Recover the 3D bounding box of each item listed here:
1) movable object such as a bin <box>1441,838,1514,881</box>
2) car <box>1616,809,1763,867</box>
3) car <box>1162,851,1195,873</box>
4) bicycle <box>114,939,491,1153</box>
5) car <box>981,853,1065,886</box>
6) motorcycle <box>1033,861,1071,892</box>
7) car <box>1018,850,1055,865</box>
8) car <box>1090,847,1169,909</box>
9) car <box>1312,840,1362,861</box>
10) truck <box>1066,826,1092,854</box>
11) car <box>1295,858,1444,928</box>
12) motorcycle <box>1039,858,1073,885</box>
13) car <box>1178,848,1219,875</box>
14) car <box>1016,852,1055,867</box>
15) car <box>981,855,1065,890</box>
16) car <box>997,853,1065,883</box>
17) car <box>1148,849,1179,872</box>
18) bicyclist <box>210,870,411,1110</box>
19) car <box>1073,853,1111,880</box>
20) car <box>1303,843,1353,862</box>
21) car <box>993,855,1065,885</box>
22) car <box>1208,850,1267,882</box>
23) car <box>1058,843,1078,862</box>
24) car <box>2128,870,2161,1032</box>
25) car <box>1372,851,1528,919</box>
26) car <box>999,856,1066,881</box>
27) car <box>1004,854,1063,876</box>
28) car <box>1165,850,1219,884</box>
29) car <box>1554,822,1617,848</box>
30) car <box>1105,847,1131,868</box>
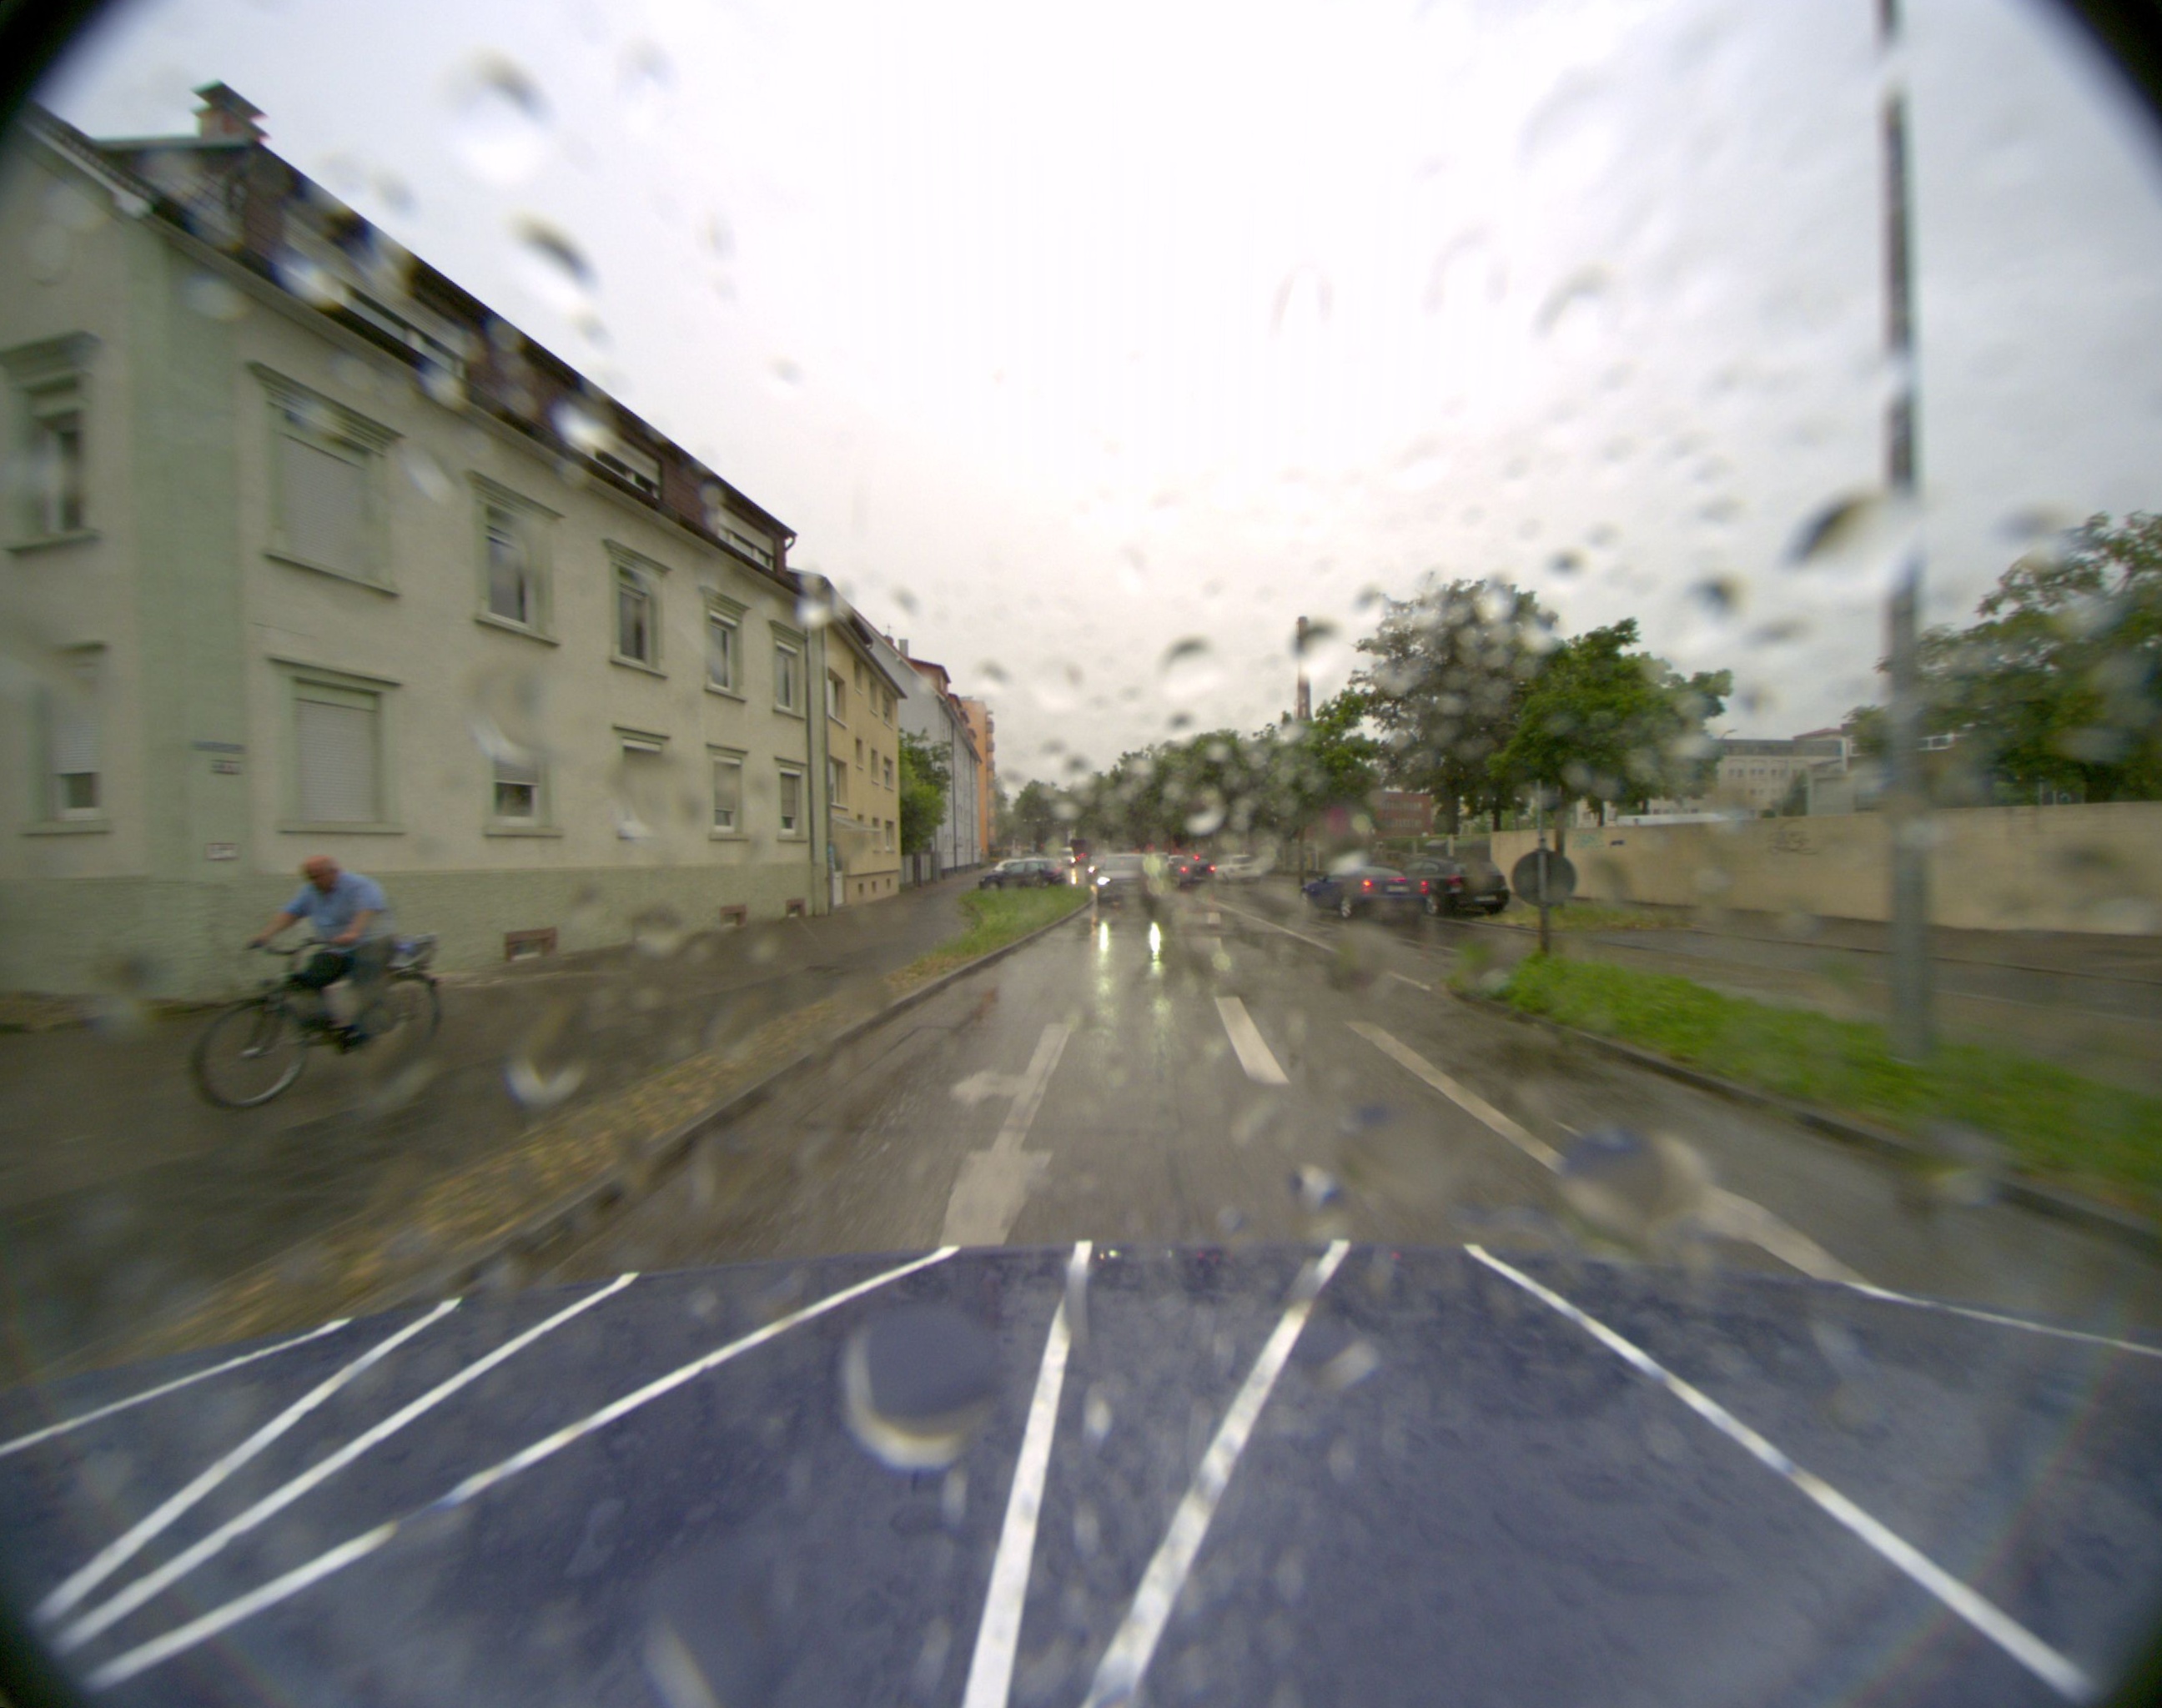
[{"bbox_3d":[14.000,0.178,26.888,1.563,1.433,1.830,-2,1,-3],"label":"movable object such as a bin"},{"bbox_3d":[27.168,-0.683,34.084,2.153,2.383,4.708,-3,1,-33],"label":"car"},{"bbox_3d":[6.819,0.538,53.382,1.695,1.445,3.717,-2,1,-2],"label":"car"},{"bbox_3d":[-5.468,1.274,5.575,0.674,1.054,1.972,-2,0,1],"label":"bicycle"},{"bbox_3d":[-2.873,0.770,38.216,4.064,1.446,1.934,-2,-1,-3],"label":"car"},{"bbox_3d":[-1.298,0.984,33.431,1.594,1.317,0.695,-2,0,-4],"label":"motorcycle"},{"bbox_3d":[-5.030,0.404,86.584,4.172,1.596,1.649,-2,1,-2],"label":"car"},{"bbox_3d":[1.438,0.686,24.142,1.961,1.702,4.172,-2,1,-3],"label":"car"},{"bbox_3d":[23.606,-0.292,70.174,2.003,1.871,3.989,-3,1,-35],"label":"car"},{"bbox_3d":[-0.415,-2.343,127.786,3.834,4.360,10.780,-2,1,-3],"label":"truck"},{"bbox_3d":[6.648,0.830,17.999,1.732,1.385,3.948,1,1,-5],"label":"car"},{"bbox_3d":[-1.352,0.926,41.070,1.767,1.365,0.734,-2,1,-2],"label":"motorcycle"},{"bbox_3d":[7.379,0.453,48.061,1.629,1.589,3.795,-2,1,-6],"label":"car"},{"bbox_3d":[-4.862,0.553,81.729,4.172,1.445,1.650,-2,1,-2],"label":"car"},{"bbox_3d":[-2.686,0.853,35.607,3.762,1.446,1.800,-2,-1,-3],"label":"car"},{"bbox_3d":[-2.976,0.796,45.440,3.924,1.605,1.691,-2,1,-2],"label":"car"},{"bbox_3d":[6.742,0.503,62.210,1.882,1.672,4.035,-2,1,-3],"label":"car"},{"bbox_3d":[-5.475,0.922,5.447,0.640,1.573,0.715,-2,1,1],"label":"bicyclist"},{"bbox_3d":[0.602,0.687,44.960,1.961,1.382,4.172,-2,1,-3],"label":"car"},{"bbox_3d":[22.170,-0.128,68.367,1.774,1.660,3.989,-3,1,-35],"label":"car"},{"bbox_3d":[-2.931,0.906,42.990,3.924,1.472,1.856,-2,1,-2],"label":"car"},{"bbox_3d":[8.081,0.584,39.668,1.779,1.452,4.677,-2,1,-4],"label":"car"},{"bbox_3d":[-1.615,-0.198,93.965,2.194,2.243,4.882,-2,1,-3],"label":"car"},{"bbox_3d":[10.298,0.820,4.702,1.732,1.375,4.177,-4,1,-5],"label":"car"},{"bbox_3d":[9.165,0.693,19.286,1.701,1.437,4.095,-3,1,-4],"label":"car"},{"bbox_3d":[-3.222,0.934,50.906,4.389,1.468,2.049,-2,1,-2],"label":"car"},{"bbox_3d":[-3.461,0.787,55.596,4.172,1.468,1.650,-2,1,-2],"label":"car"},{"bbox_3d":[5.276,0.598,36.539,1.711,1.492,3.944,1,1,-4],"label":"car"},{"bbox_3d":[42.855,-1.595,64.622,2.003,2.002,3.990,-3,1,-34],"label":"car"},{"bbox_3d":[3.451,0.300,70.924,2.071,1.732,4.173,-2,1,-2],"label":"car"}]
